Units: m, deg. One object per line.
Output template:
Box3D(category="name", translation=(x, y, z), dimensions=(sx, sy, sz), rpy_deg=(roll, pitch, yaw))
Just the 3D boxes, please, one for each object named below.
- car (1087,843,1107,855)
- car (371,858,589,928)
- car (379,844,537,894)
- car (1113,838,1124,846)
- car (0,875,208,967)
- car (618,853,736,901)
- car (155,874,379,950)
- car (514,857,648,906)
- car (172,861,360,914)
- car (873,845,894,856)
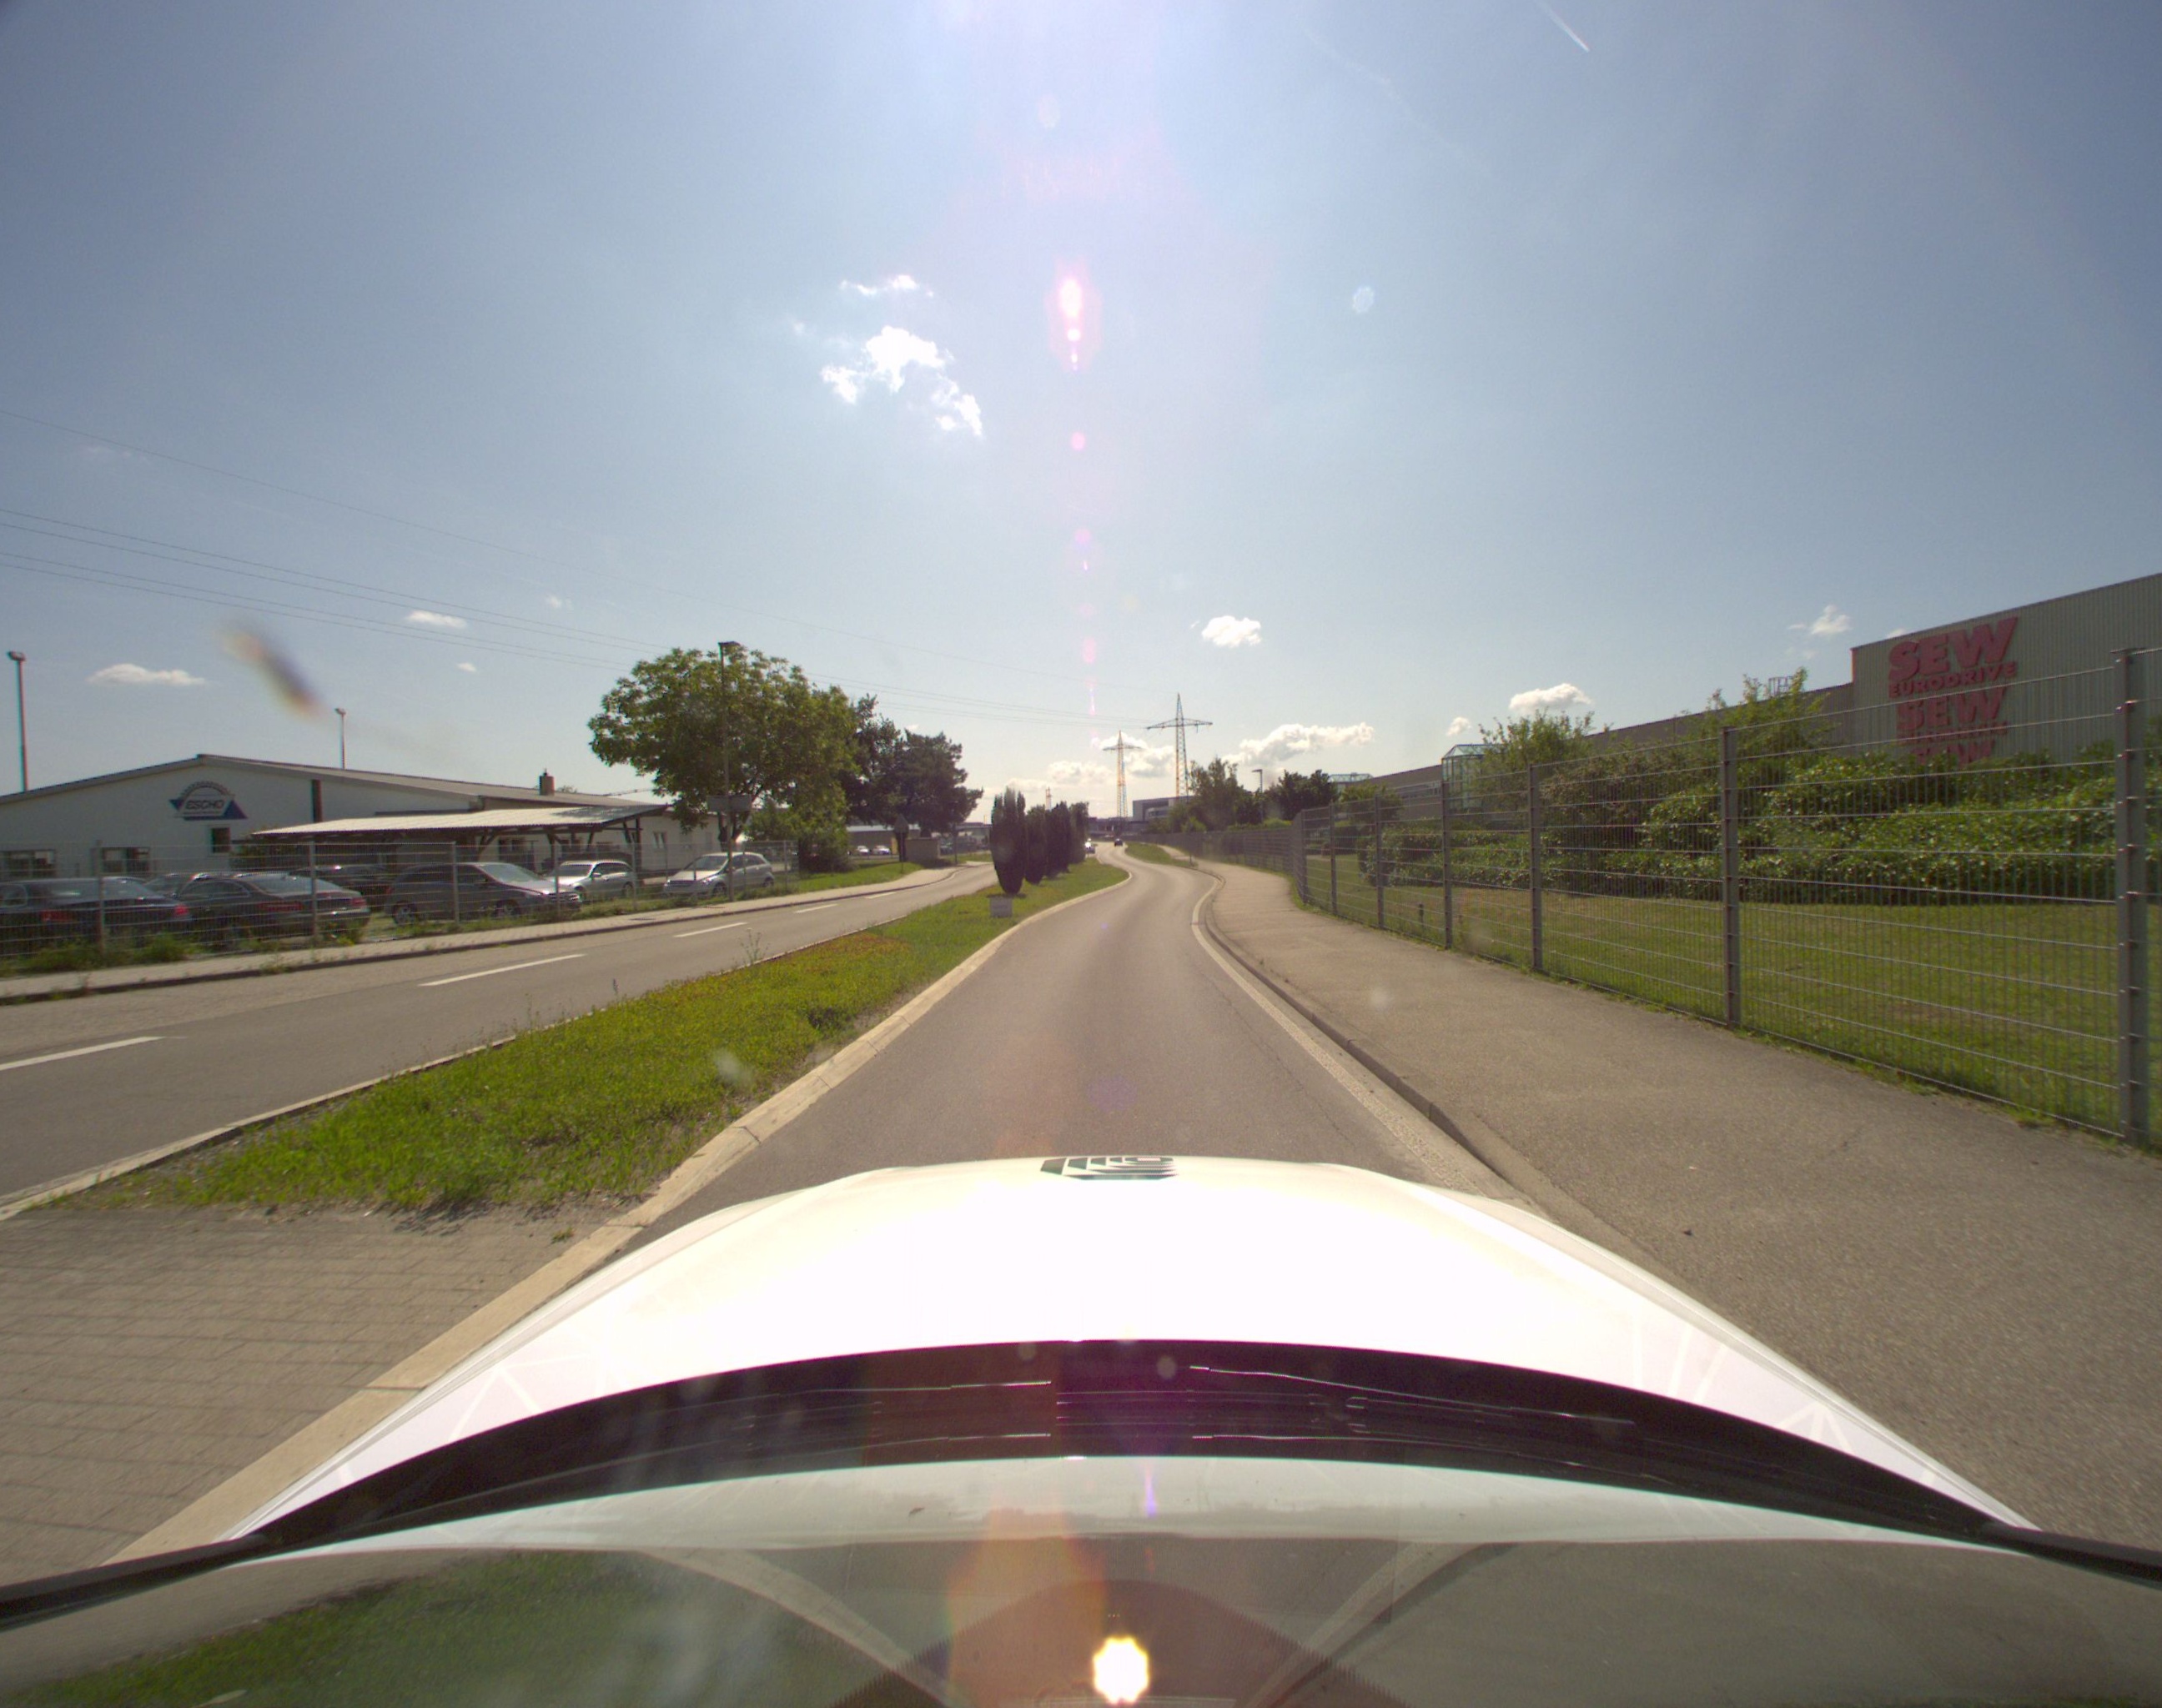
Box3D(category="car", translation=(2.149, -0.695, 108.801), dimensions=(1.888, 1.393, 4.878), rpy_deg=(-2, 1, 9))
Box3D(category="car", translation=(-14.878, 0.938, 20.316), dimensions=(3.968, 1.519, 2.003), rpy_deg=(-2, 0, 5))
Box3D(category="car", translation=(-19.910, 0.432, 26.265), dimensions=(1.988, 1.442, 3.999), rpy_deg=(-2, 0, -1))
Box3D(category="car", translation=(7.887, -2.491, 171.688), dimensions=(2.005, 1.508, 4.000), rpy_deg=(-2, 0, 0))
Box3D(category="car", translation=(-17.521, 1.098, 14.000), dimensions=(3.953, 1.321, 2.010), rpy_deg=(-2, 0, 20))
Box3D(category="car", translation=(-13.799, 0.726, 28.099), dimensions=(1.987, 1.442, 4.000), rpy_deg=(-2, 0, 0))
Box3D(category="car", translation=(-16.402, 1.145, 16.432), dimensions=(3.845, 1.321, 1.700), rpy_deg=(-2, 0, 20))
Box3D(category="car", translation=(-16.623, 0.860, 27.336), dimensions=(1.988, 1.442, 3.999), rpy_deg=(-2, 0, -1))
Box3D(category="car", translation=(-26.079, 1.016, 26.289), dimensions=(1.988, 1.442, 3.999), rpy_deg=(-2, 0, -1))
Box3D(category="car", translation=(-29.948, -0.544, 123.575), dimensions=(2.005, 1.486, 4.209), rpy_deg=(-2, 1, -28))
